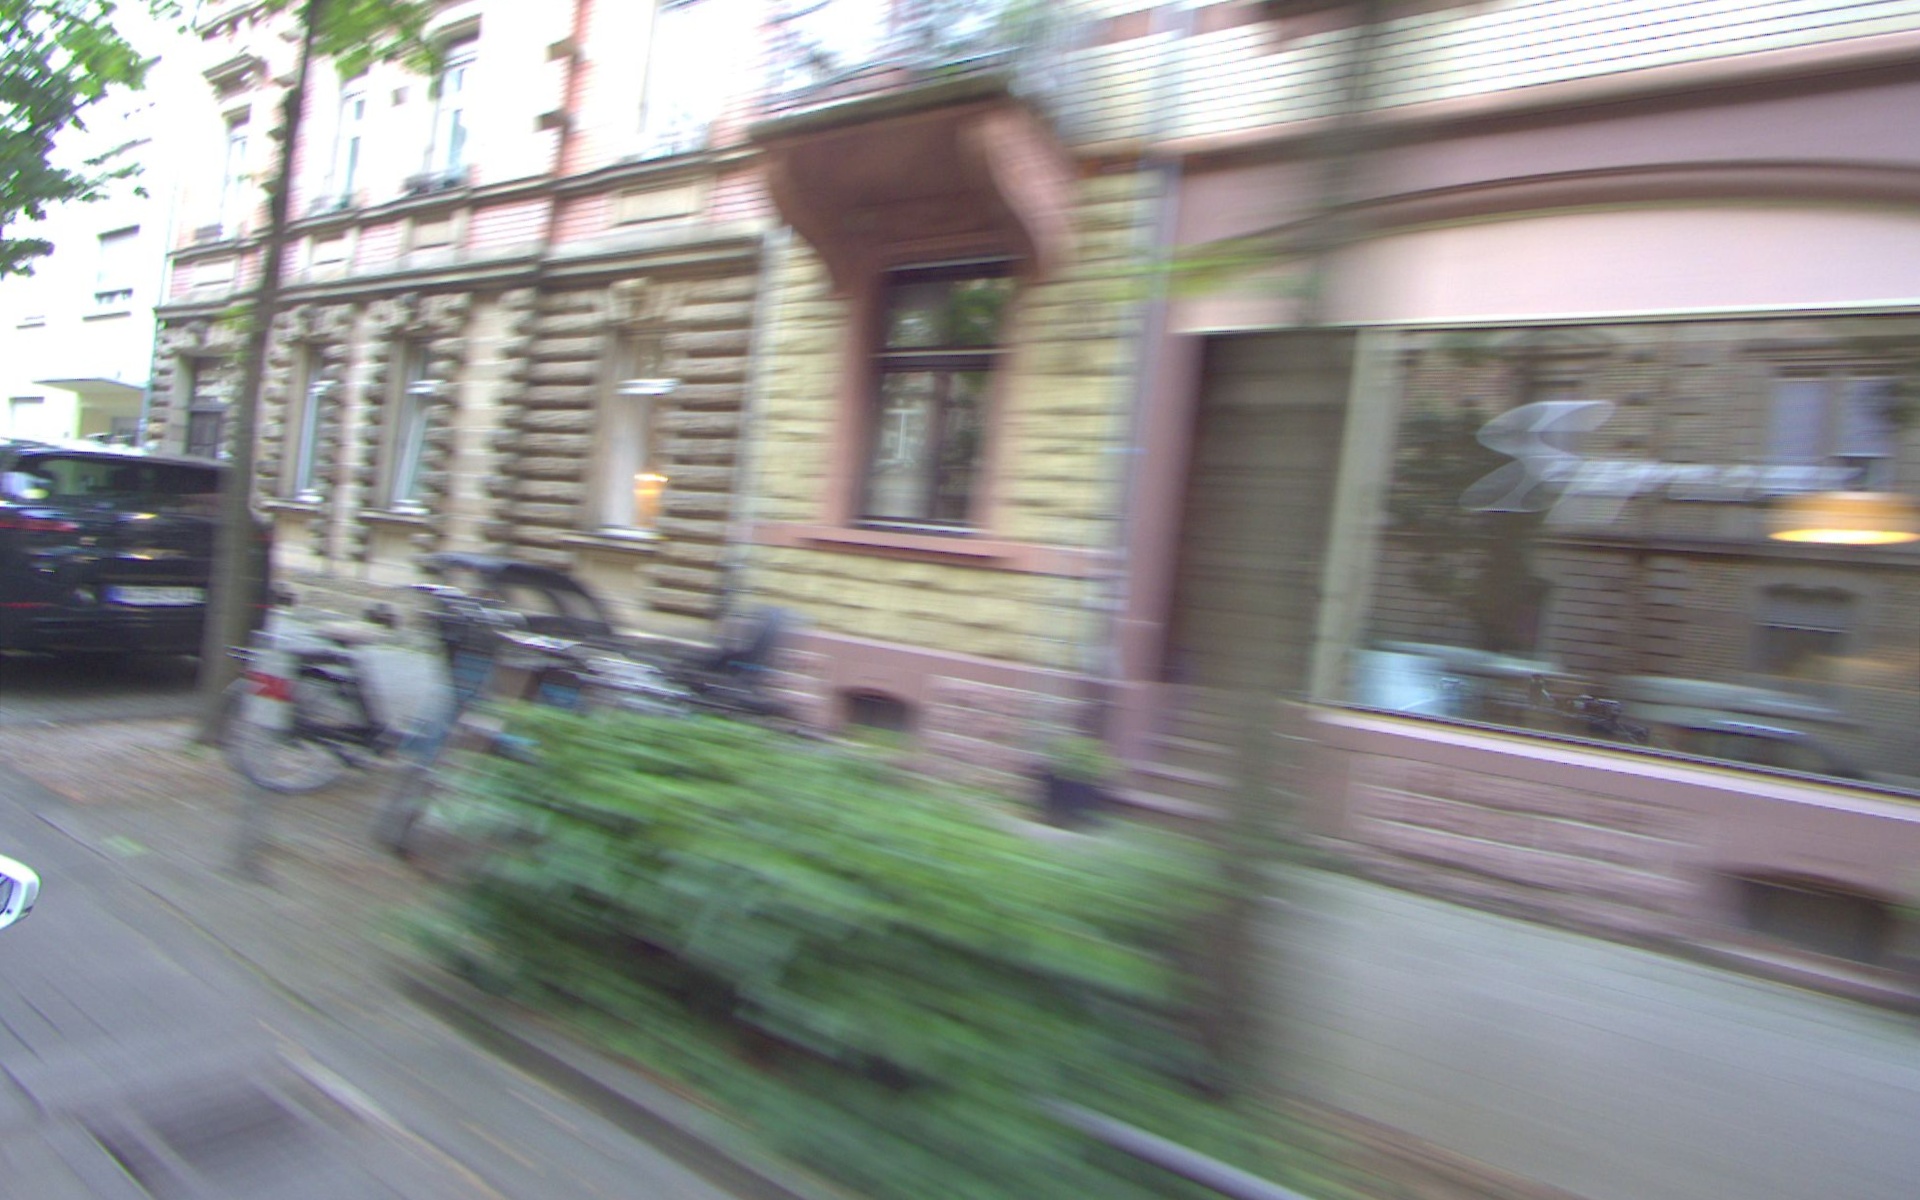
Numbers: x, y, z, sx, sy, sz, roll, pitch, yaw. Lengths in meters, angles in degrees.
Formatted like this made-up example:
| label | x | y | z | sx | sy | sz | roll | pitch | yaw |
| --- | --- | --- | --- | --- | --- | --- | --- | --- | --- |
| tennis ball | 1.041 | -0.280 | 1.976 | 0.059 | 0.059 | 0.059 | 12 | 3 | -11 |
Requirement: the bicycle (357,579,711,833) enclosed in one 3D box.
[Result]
| label | x | y | z | sx | sy | sz | roll | pitch | yaw |
| --- | --- | --- | --- | --- | --- | --- | --- | --- | --- |
| bicycle | -2.283 | 0.572 | 5.602 | 0.573 | 1.157 | 1.659 | 8 | 0 | 35 |

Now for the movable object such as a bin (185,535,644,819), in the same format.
| label | x | y | z | sx | sy | sz | roll | pitch | yaw |
| --- | --- | --- | --- | --- | --- | --- | --- | --- | --- |
| movable object such as a bin | -3.068 | 0.401 | 5.937 | 0.758 | 1.322 | 2.214 | 7 | 2 | 35 |

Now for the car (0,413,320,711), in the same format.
| label | x | y | z | sx | sy | sz | roll | pitch | yaw |
| --- | --- | --- | --- | --- | --- | --- | --- | --- | --- |
| car | -7.530 | -0.435 | 8.196 | 4.731 | 1.857 | 2.014 | 7 | 2 | 32 |

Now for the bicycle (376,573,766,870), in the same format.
| label | x | y | z | sx | sy | sz | roll | pitch | yaw |
| --- | --- | --- | --- | --- | --- | --- | --- | --- | --- |
| bicycle | -1.871 | 0.585 | 5.098 | 0.573 | 1.213 | 1.697 | 8 | 0 | 35 |

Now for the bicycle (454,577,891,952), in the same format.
| label | x | y | z | sx | sy | sz | roll | pitch | yaw |
| --- | --- | --- | --- | --- | --- | --- | --- | --- | --- |
| bicycle | -1.215 | 0.641 | 4.635 | 0.788 | 1.311 | 1.762 | 8 | 2 | 32 |
